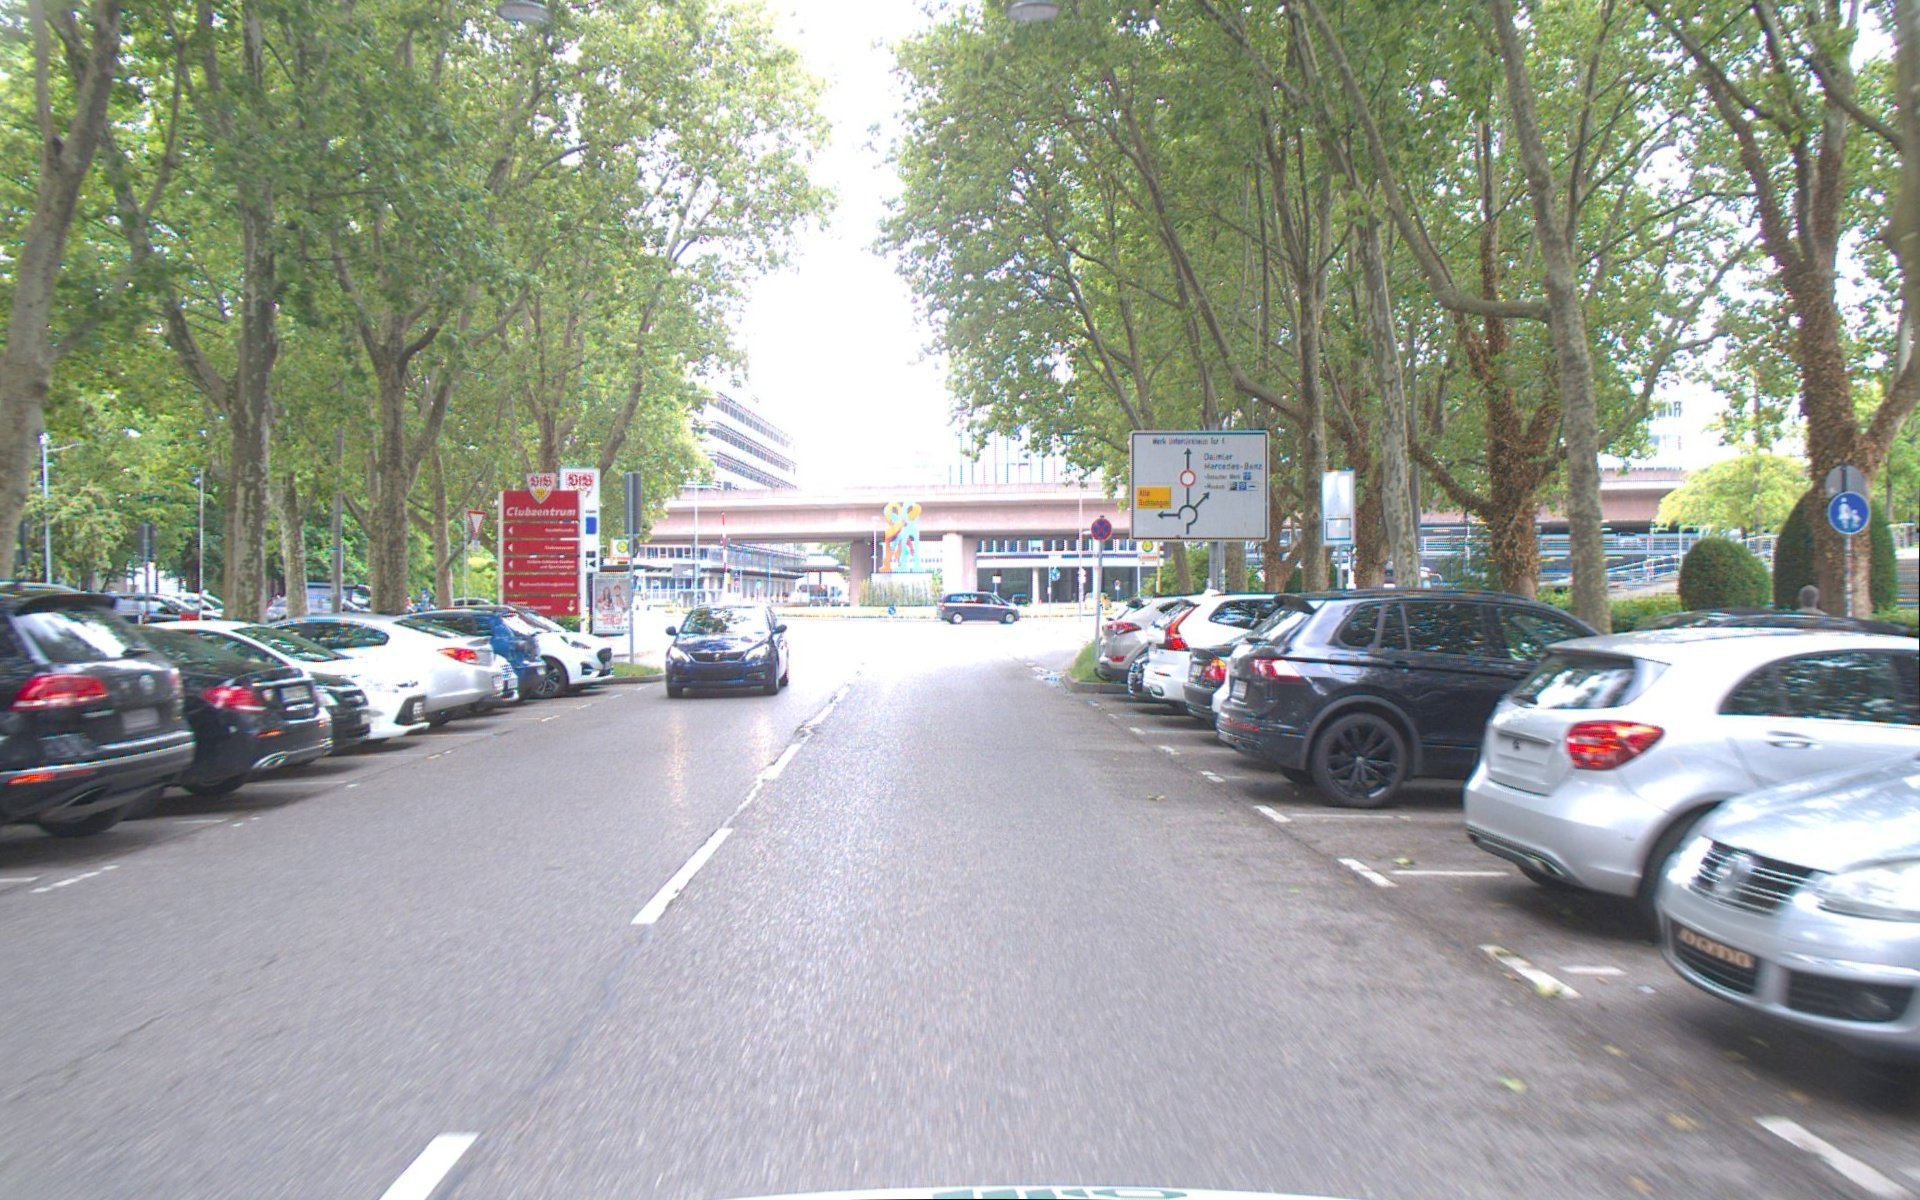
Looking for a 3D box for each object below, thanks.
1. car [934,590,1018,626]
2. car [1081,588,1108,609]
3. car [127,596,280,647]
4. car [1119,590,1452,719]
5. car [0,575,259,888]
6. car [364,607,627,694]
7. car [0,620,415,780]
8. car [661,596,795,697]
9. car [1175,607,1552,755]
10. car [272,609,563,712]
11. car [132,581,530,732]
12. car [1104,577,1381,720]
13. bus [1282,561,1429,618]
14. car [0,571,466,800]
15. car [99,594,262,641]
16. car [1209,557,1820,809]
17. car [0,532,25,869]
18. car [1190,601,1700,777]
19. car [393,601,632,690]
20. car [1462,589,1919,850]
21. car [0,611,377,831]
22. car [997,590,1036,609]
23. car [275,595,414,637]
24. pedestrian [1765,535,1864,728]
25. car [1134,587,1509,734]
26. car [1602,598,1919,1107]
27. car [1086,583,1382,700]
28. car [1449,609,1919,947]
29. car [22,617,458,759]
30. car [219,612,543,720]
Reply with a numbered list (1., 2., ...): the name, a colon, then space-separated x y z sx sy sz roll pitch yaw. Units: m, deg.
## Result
1. car: 0.933 0.474 98.712 4.680 2.049 2.278 1 -1 -9
2. car: 13.371 -0.149 164.232 1.951 2.049 4.002 0 0 16
3. car: -23.919 0.676 52.379 3.906 1.549 2.001 1 0 -1
4. car: 4.462 0.726 23.160 4.258 1.633 1.925 1 0 -1
5. car: -7.087 0.762 10.672 4.230 1.826 2.036 1 -1 -1
6. car: -7.871 0.839 28.292 3.911 1.409 1.912 0 0 2
7. car: -7.486 0.897 15.527 4.106 1.378 1.966 1 0 -4
8. car: -3.734 0.722 27.228 1.805 1.536 4.013 1 0 -3
9. car: 4.352 0.857 18.211 3.656 1.427 1.775 2 0 -2
10. car: -8.361 0.913 25.745 3.913 1.520 1.832 1 0 -2
11. car: -7.719 0.669 20.625 4.179 1.575 1.907 -3 0 -3
12. car: 4.302 0.713 25.665 3.906 2.049 2.000 1 0 -1
13. bus: 29.182 -0.709 121.925 10.888 4.003 2.741 1 -1 -21
14. car: -6.946 0.741 15.133 4.230 1.841 1.867 -2 0 -1
15. car: -23.358 0.528 49.663 3.906 1.347 2.001 1 0 -2
16. car: 4.321 0.627 13.354 4.259 1.791 1.924 1 0 -3
17. car: -7.306 0.626 8.151 4.233 1.841 1.866 -2 0 -5
18. car: 4.499 0.803 15.790 4.259 1.481 1.948 1 1 -3
19. car: -8.246 0.819 30.694 3.912 1.567 1.805 1 -1 0
20. car: 5.295 0.722 10.993 3.365 1.518 1.679 -1 0 -2
21. car: -7.046 0.941 13.115 4.044 1.477 2.013 -3 0 0
22. car: 5.688 -0.044 165.906 1.961 1.803 3.983 0 -1 37
23. car: -23.793 0.631 64.041 4.530 1.595 2.109 0 -1 1
24. pedestrian: 9.302 0.342 18.019 0.772 2.049 0.596 1 -1 -18
25. car: 4.444 0.718 20.794 4.258 1.662 1.925 1 0 -1
26. car: 4.597 0.776 5.735 4.064 1.483 1.727 1 0 -1
27. car: 4.193 0.612 25.773 4.258 1.662 1.925 1 0 -1
28. car: 4.492 0.822 8.250 3.568 1.452 1.664 1 0 -5
29. car: -7.699 0.918 18.001 3.907 1.429 1.884 1 0 -3
30. car: -8.081 0.906 23.356 3.906 1.430 1.861 1 0 -2
